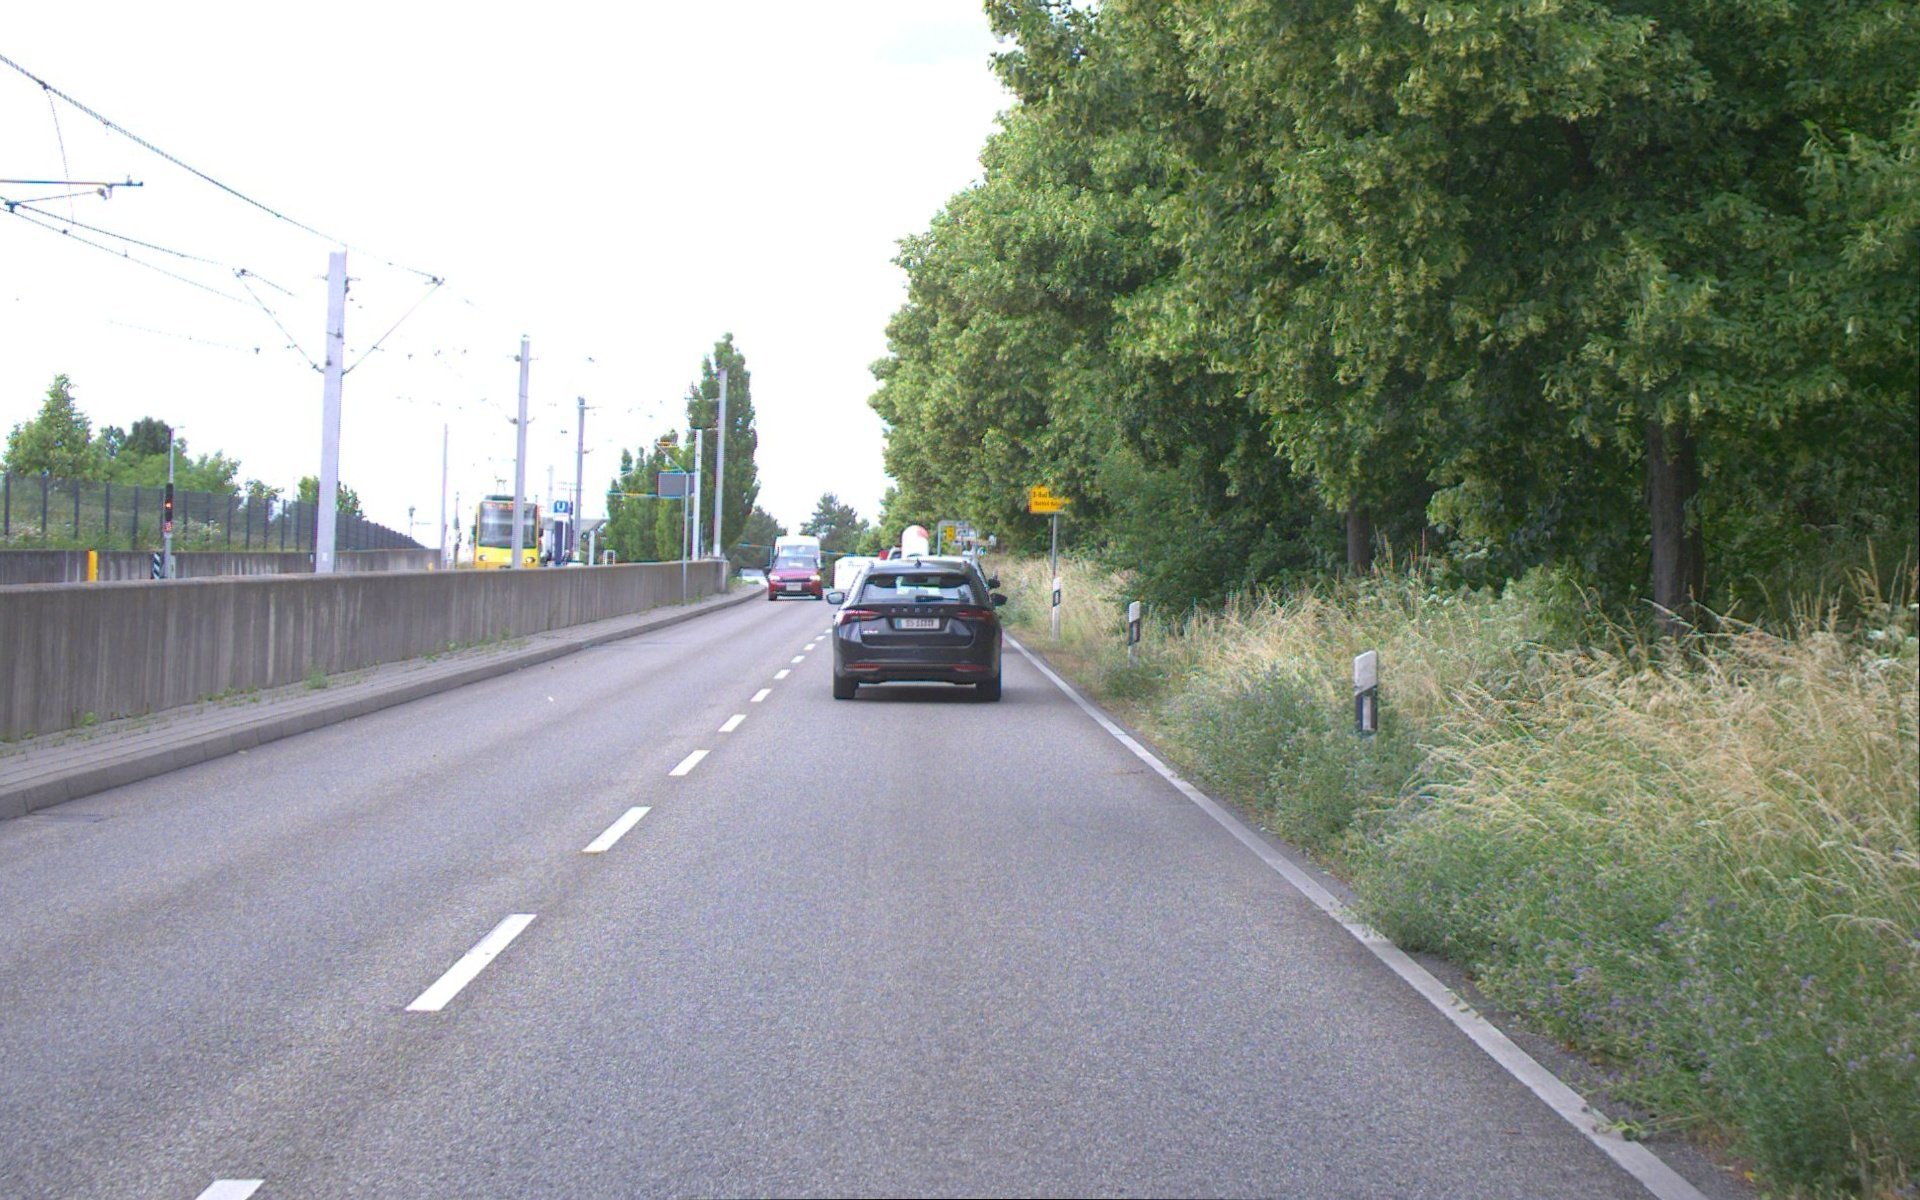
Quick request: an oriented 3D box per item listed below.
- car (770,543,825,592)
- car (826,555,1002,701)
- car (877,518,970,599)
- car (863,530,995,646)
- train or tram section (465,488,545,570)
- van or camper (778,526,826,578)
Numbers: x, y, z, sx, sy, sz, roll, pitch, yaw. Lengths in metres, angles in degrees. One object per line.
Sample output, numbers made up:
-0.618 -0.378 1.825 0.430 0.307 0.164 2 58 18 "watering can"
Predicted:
-5.180 -1.043 110.002 1.662 1.540 3.953 0 1 -1 "car"
-0.491 0.255 36.715 1.781 1.463 4.000 0 1 -1 "car"
-0.807 -0.888 76.096 1.993 1.734 4.000 0 0 -1 "car"
-0.499 -0.215 54.098 1.993 1.747 4.000 0 1 -1 "car"
-19.313 -2.889 145.058 2.811 3.106 18.920 0 0 -9 "train or tram section"
-7.463 -2.276 162.511 2.082 2.388 6.137 1 1 -1 "van or camper"
